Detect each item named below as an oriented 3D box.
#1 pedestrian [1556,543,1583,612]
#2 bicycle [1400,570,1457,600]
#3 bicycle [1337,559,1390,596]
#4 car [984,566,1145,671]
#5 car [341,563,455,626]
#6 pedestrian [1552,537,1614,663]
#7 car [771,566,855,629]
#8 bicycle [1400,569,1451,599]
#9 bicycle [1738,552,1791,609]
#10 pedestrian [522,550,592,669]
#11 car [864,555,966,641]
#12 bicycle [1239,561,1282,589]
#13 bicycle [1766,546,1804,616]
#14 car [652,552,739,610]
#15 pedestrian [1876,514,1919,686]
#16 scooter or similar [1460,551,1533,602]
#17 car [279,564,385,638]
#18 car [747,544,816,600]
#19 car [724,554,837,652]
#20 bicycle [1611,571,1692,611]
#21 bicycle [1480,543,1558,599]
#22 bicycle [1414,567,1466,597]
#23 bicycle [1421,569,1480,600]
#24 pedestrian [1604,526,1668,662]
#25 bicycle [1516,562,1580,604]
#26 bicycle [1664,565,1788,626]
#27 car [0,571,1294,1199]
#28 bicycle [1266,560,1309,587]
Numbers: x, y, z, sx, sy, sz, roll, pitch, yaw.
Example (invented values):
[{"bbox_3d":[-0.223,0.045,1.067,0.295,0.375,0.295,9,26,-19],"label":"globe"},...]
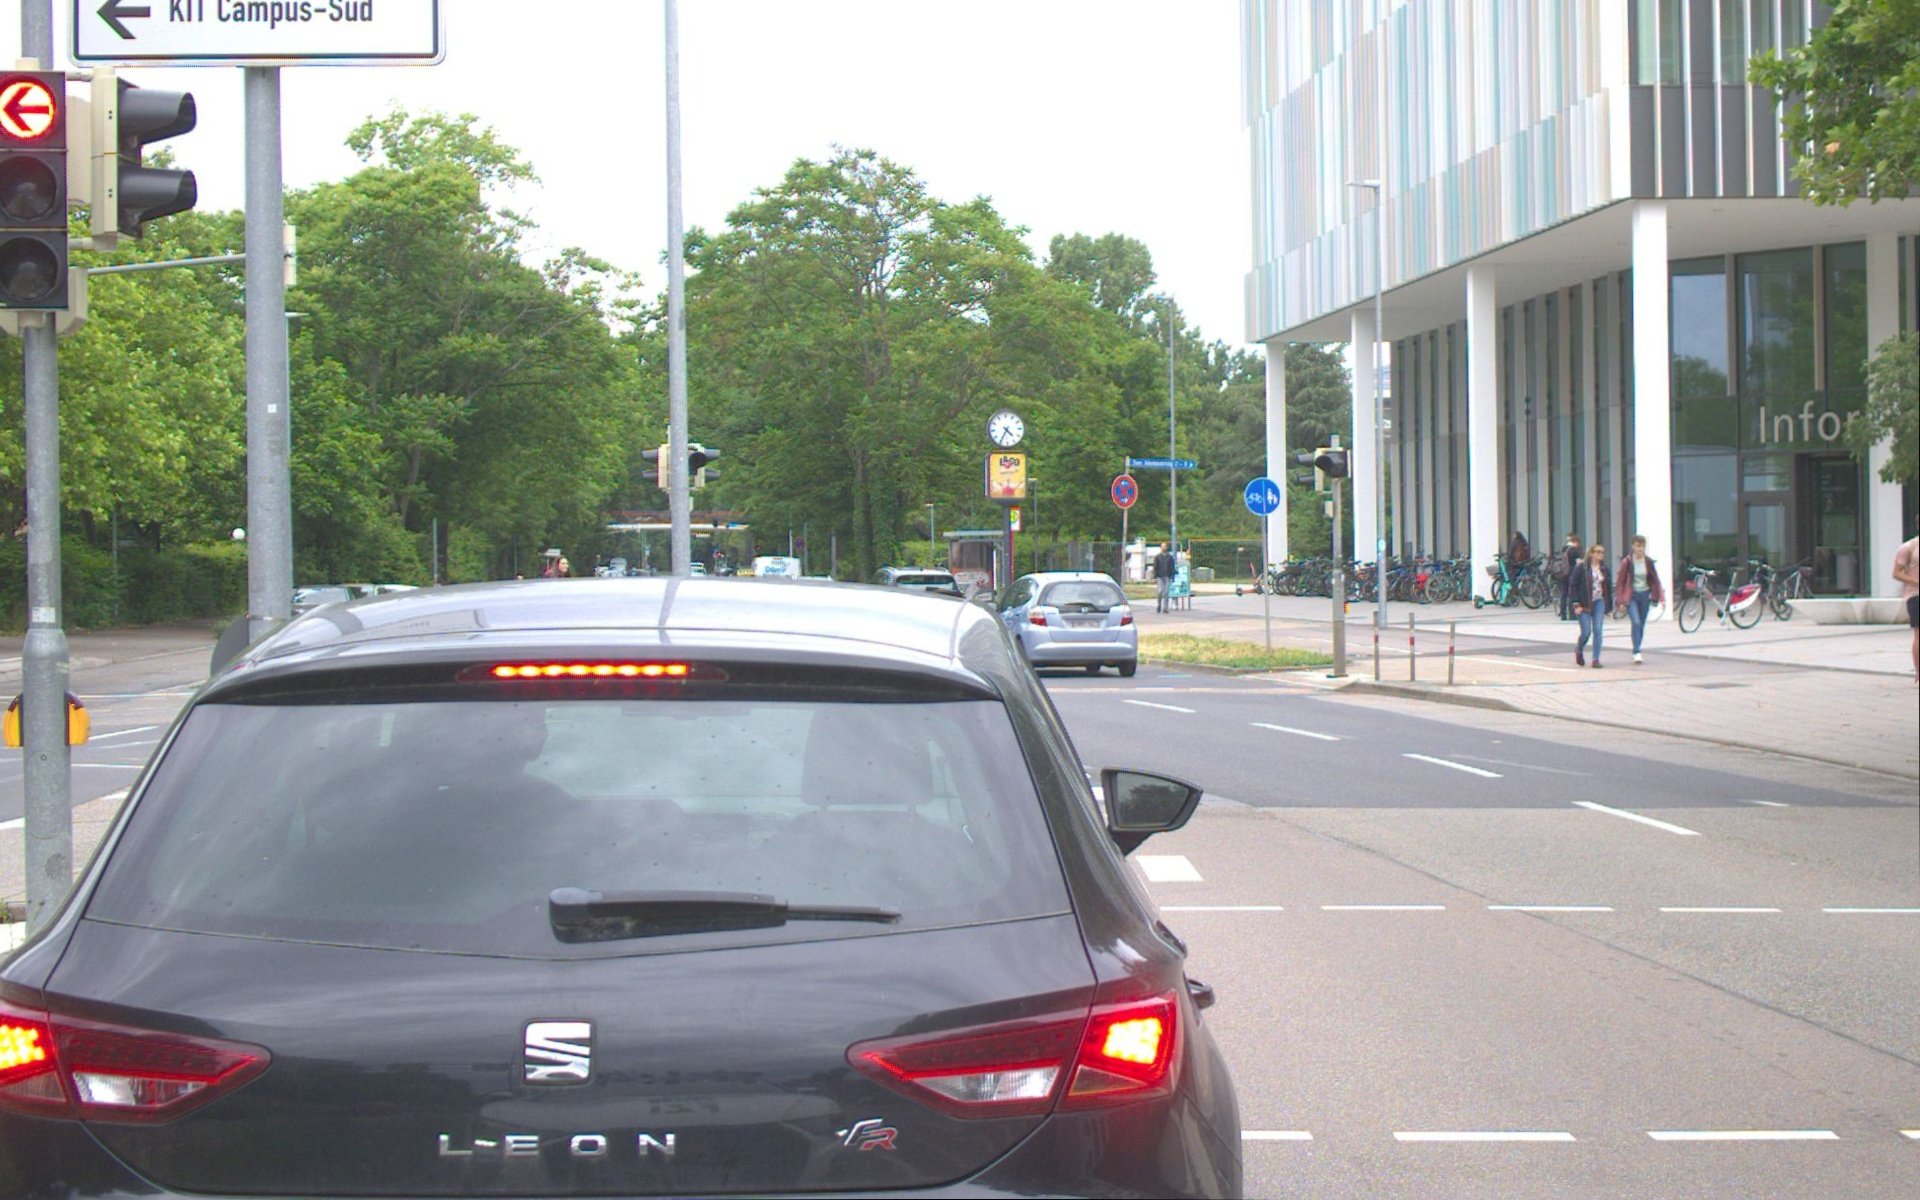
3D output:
[{"bbox_3d":[12.179,-0.449,68.721,0.472,1.357,0.445,-2,1,10],"label":"pedestrian"},{"bbox_3d":[11.720,-0.381,85.995,1.375,0.703,0.489,-2,1,8],"label":"bicycle"},{"bbox_3d":[10.786,-0.607,91.857,1.387,0.938,0.487,-1,1,7],"label":"bicycle"},{"bbox_3d":[1.483,0.244,50.035,1.666,1.461,3.661,0,1,-9],"label":"car"},{"bbox_3d":[-15.710,-0.166,96.283,1.759,1.582,3.998,-2,1,12],"label":"car"},{"bbox_3d":[8.180,-0.006,45.157,0.687,1.634,0.633,0,1,-1],"label":"pedestrian"},{"bbox_3d":[-3.784,-0.049,89.128,1.825,1.545,4.527,1,0,2],"label":"car"},{"bbox_3d":[11.758,-0.411,86.887,1.240,0.703,0.489,-2,1,8],"label":"bicycle"},{"bbox_3d":[15.731,-0.380,67.188,0.620,1.042,1.703,-2,1,26],"label":"bicycle"},{"bbox_3d":[-5.490,0.122,46.801,0.874,1.581,0.543,-2,1,-7],"label":"pedestrian"},{"bbox_3d":[-0.928,-0.069,68.157,1.907,1.619,4.491,1,1,-2],"label":"car"},{"bbox_3d":[9.526,-0.801,108.888,1.258,0.845,0.482,2,0,-22],"label":"bicycle"},{"bbox_3d":[15.465,-0.370,64.394,0.526,1.248,1.664,-2,1,18],"label":"bicycle"},{"bbox_3d":[-6.780,-0.505,87.884,1.781,1.458,3.872,0,1,-11],"label":"car"},{"bbox_3d":[10.113,-0.020,35.843,0.847,1.759,0.768,-2,1,-1],"label":"pedestrian"},{"bbox_3d":[12.227,-0.540,78.312,1.671,1.103,0.499,-3,1,-32],"label":"scooter or similar"},{"bbox_3d":[-15.724,0.004,86.311,1.906,1.711,4.000,-2,1,-1],"label":"car"},{"bbox_3d":[-6.517,-1.029,125.064,1.966,1.965,4.345,1,1,-10],"label":"car"},{"bbox_3d":[-3.181,0.021,61.713,1.883,1.594,4.447,3,1,-2],"label":"car"},{"bbox_3d":[14.016,-0.182,69.690,1.479,0.746,0.566,-2,1,-4],"label":"bicycle"},{"bbox_3d":[12.642,-0.659,77.732,1.772,1.207,0.570,-3,1,-34],"label":"bicycle"},{"bbox_3d":[12.233,-0.457,87.568,1.273,0.703,0.485,-2,1,7],"label":"bicycle"},{"bbox_3d":[12.006,-0.376,84.198,1.374,0.703,0.416,-2,1,2],"label":"bicycle"},{"bbox_3d":[8.888,-0.085,45.195,0.687,1.775,0.677,-1,1,-1],"label":"pedestrian"},{"bbox_3d":[13.003,-0.376,76.029,1.438,0.855,0.365,-3,1,-27],"label":"bicycle"},{"bbox_3d":[12.529,-0.081,56.206,1.886,0.895,0.697,-3,1,-21],"label":"bicycle"},{"bbox_3d":[-0.452,0.692,5.744,1.753,1.427,3.769,1,1,2],"label":"car"},{"bbox_3d":[10.169,-0.819,106.882,1.234,0.820,0.482,1,0,-22],"label":"bicycle"}]
